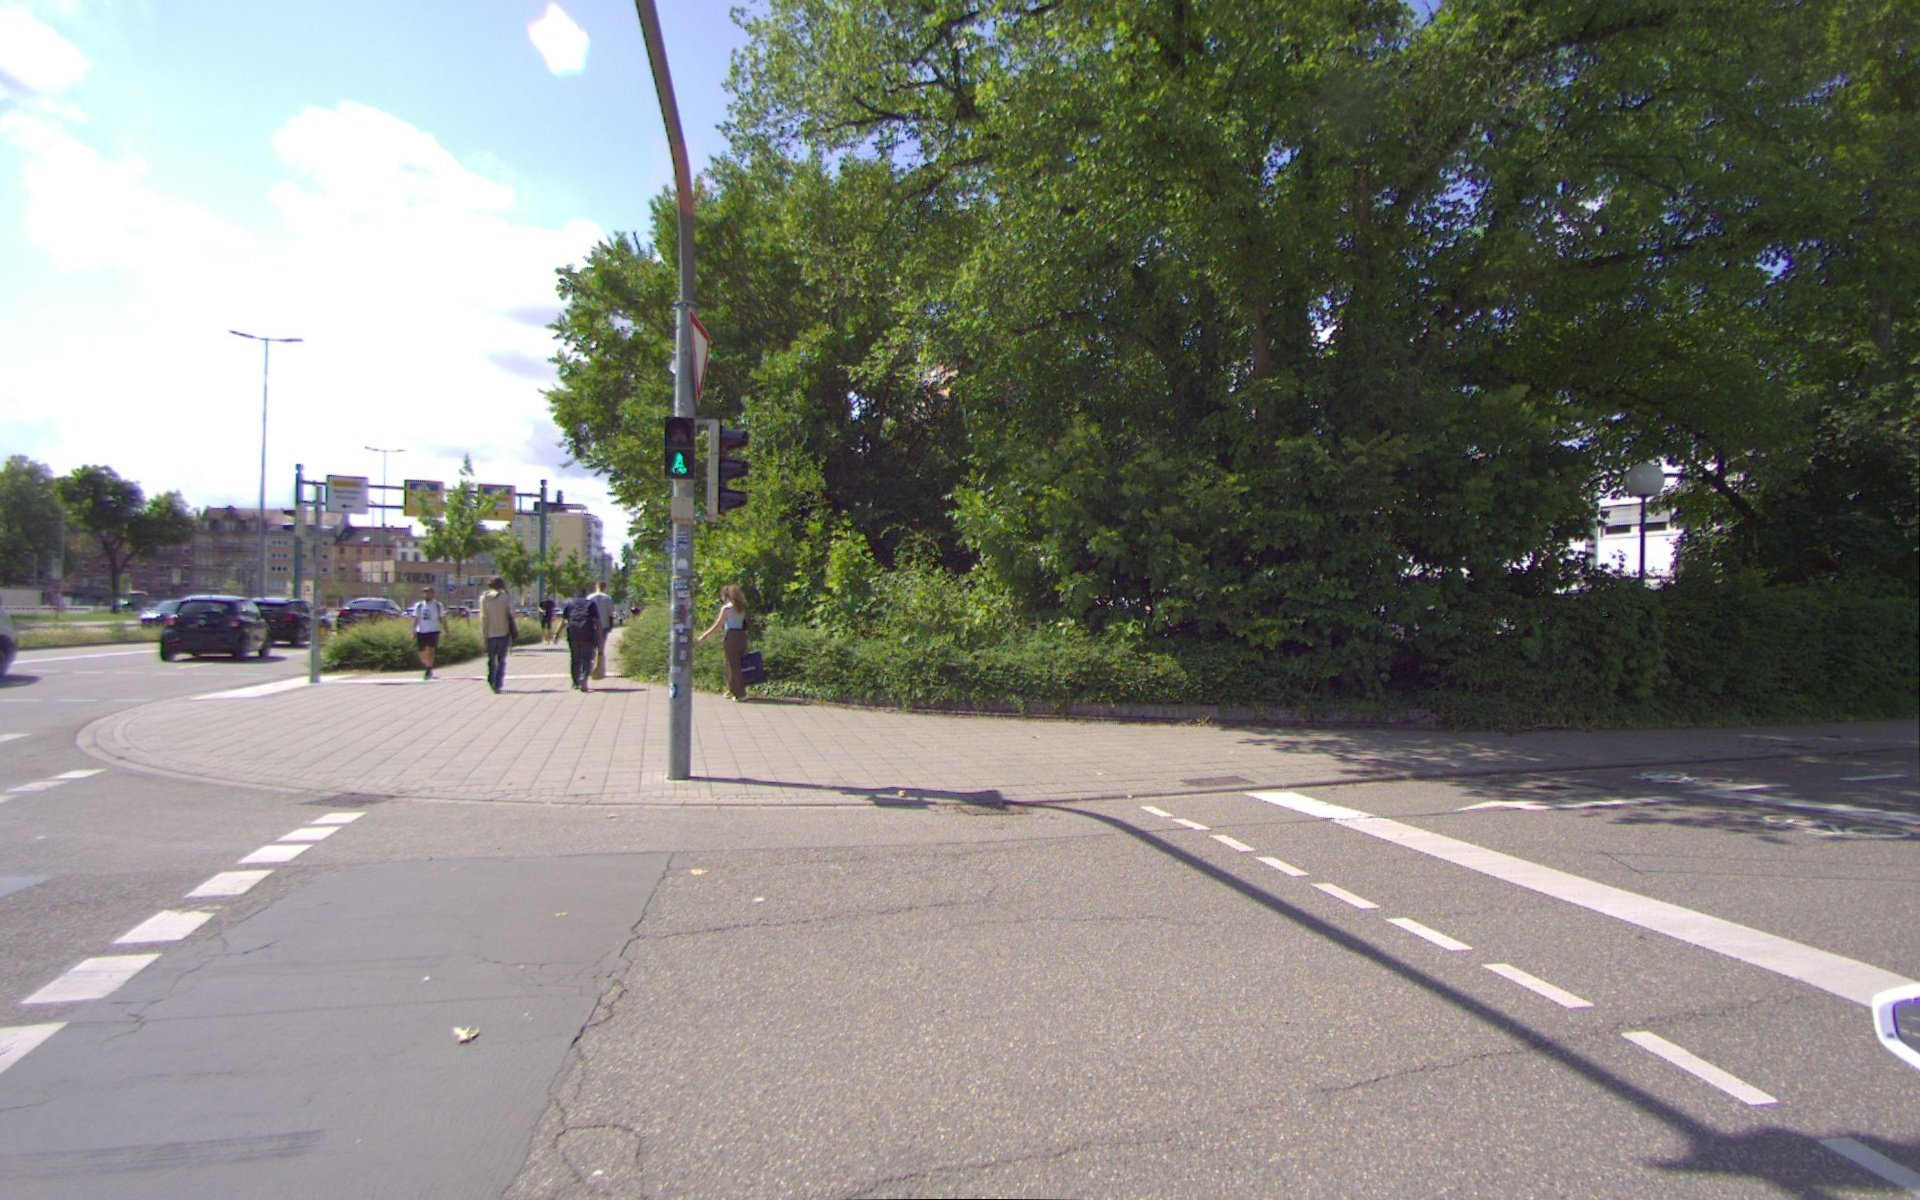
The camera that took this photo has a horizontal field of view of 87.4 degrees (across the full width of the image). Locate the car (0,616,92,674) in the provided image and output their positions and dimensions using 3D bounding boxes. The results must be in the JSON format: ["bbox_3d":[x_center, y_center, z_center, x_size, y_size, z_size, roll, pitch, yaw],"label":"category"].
[{"bbox_3d":[-26.095,1.202,27.707,1.725,1.491,3.793,2,-2,-16],"label":"car"}]

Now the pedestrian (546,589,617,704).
[{"bbox_3d":[-5.931,0.709,15.804,0.783,1.727,1.181,0,0,-7],"label":"pedestrian"}]

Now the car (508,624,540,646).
[{"bbox_3d":[-29.901,2.385,68.977,1.591,1.430,3.503,3,-2,-18],"label":"car"}]

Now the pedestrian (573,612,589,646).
[{"bbox_3d":[-22.972,1.754,60.890,0.828,1.995,0.857,1,-1,-20],"label":"pedestrian"}]

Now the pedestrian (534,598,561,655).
[{"bbox_3d":[-14.762,0.960,35.961,0.828,1.995,0.857,1,-1,-20],"label":"pedestrian"}]

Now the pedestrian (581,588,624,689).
[{"bbox_3d":[-6.677,0.707,18.749,0.663,1.845,0.699,2,0,-23],"label":"pedestrian"}]

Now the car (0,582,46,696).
[{"bbox_3d":[-17.162,0.612,15.761,1.980,1.981,5.177,2,-2,-16],"label":"car"}]

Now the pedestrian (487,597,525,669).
[{"bbox_3d":[-12.288,0.895,27.220,0.828,1.893,1.014,1,-1,-20],"label":"pedestrian"}]

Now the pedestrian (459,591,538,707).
[{"bbox_3d":[-7.175,0.741,15.680,0.783,1.727,1.181,0,0,-7],"label":"pedestrian"}]

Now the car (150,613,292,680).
[{"bbox_3d":[-18.075,1.102,24.750,1.590,1.504,3.506,2,-2,-15],"label":"car"}]

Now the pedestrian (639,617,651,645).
[{"bbox_3d":[-21.841,2.117,69.666,0.551,1.915,0.502,1,-2,32],"label":"pedestrian"}]

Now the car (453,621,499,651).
[{"bbox_3d":[-24.207,1.830,50.372,1.591,1.430,3.504,1,-2,-18],"label":"car"}]

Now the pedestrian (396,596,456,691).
[{"bbox_3d":[-10.015,0.807,18.876,0.840,1.723,0.928,0,-1,-18],"label":"pedestrian"}]

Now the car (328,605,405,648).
[{"bbox_3d":[-24.483,1.082,41.598,1.804,1.622,4.376,2,-2,-18],"label":"car"}]

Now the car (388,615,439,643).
[{"bbox_3d":[-27.188,1.426,50.067,1.591,1.342,3.503,1,-1,-18],"label":"car"}]

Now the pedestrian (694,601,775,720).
[{"bbox_3d":[-3.297,0.849,14.680,0.849,1.648,1.010,0,1,-35],"label":"pedestrian"}]

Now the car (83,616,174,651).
[{"bbox_3d":[-37.614,1.521,45.551,1.725,1.491,3.793,2,-2,-16],"label":"car"}]

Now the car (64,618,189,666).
[{"bbox_3d":[-27.428,1.367,33.223,1.725,1.491,3.793,2,-2,-16],"label":"car"}]

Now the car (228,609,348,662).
[{"bbox_3d":[-22.032,1.128,33.172,1.992,1.550,4.867,2,-2,-18],"label":"car"}]
